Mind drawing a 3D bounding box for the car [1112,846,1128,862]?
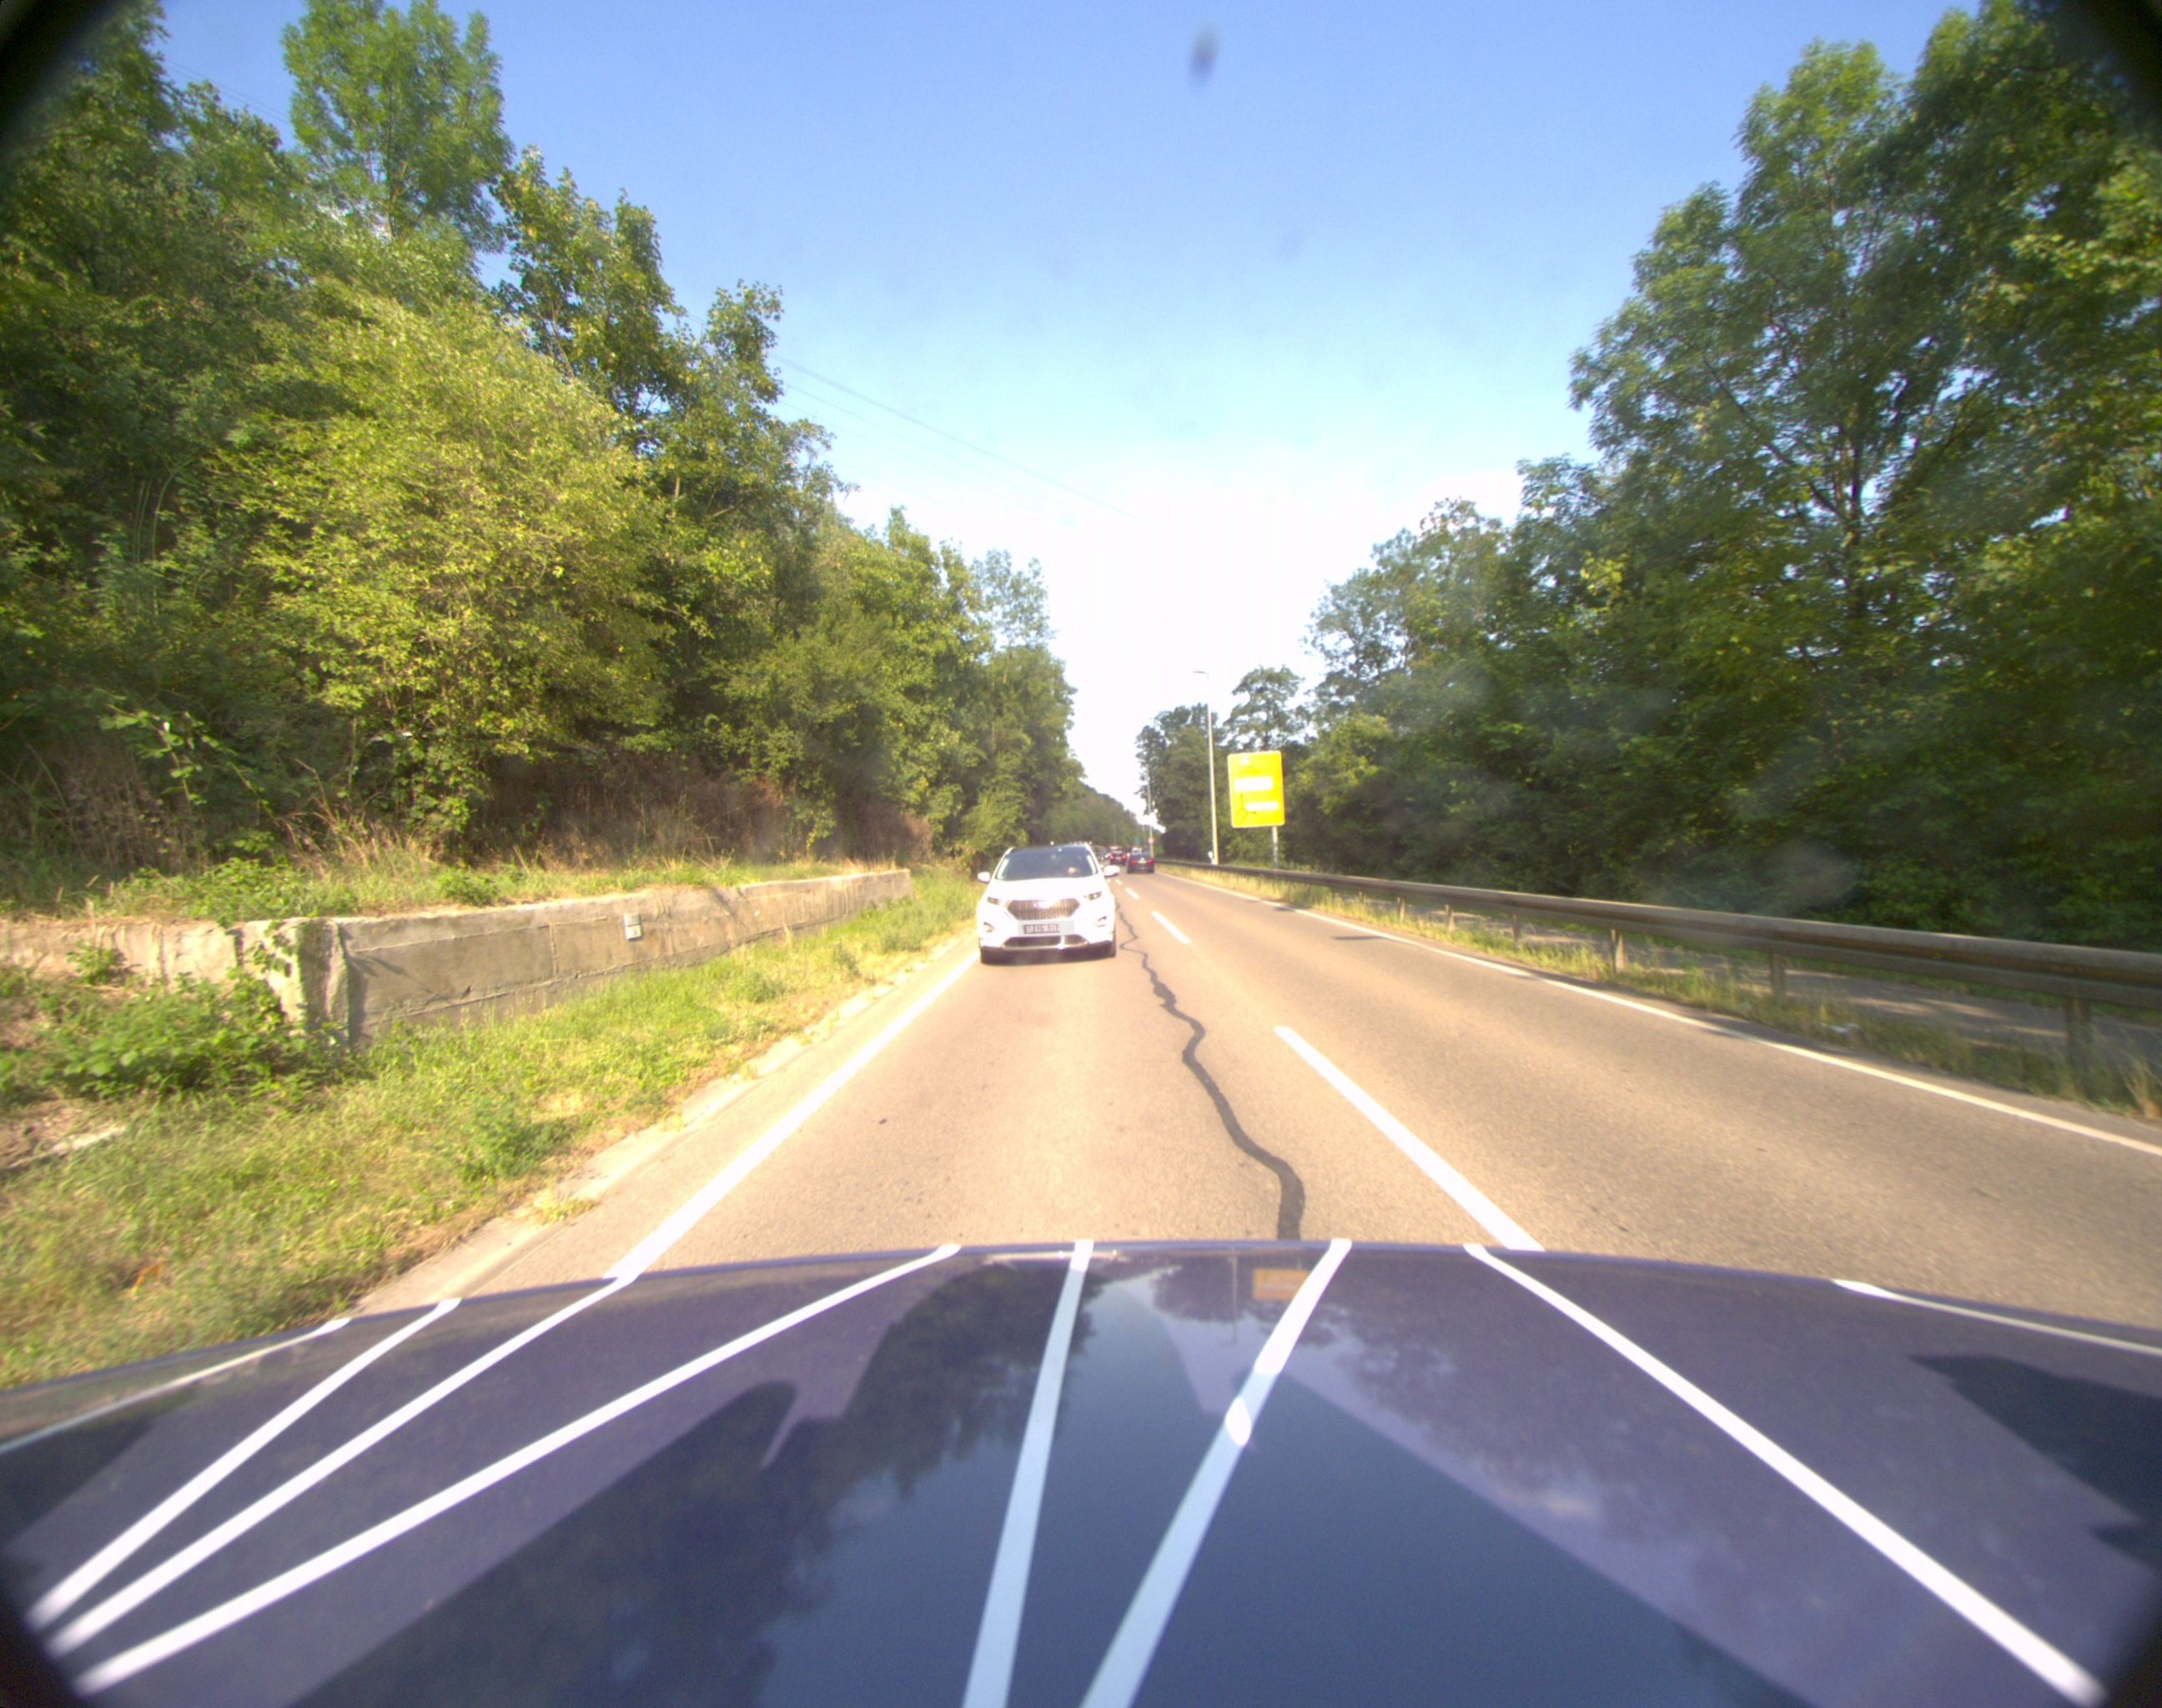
[{"bbox_3d":[4.562,-0.010,90.050,1.752,1.707,4.221,-2,1,2],"label":"car"}]

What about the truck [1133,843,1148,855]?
[{"bbox_3d":[12.974,-1.210,165.170,2.061,2.371,5.877,-3,1,13],"label":"truck"}]

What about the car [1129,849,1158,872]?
[{"bbox_3d":[4.231,0.418,51.790,1.696,1.412,4.141,-2,1,1],"label":"car"}]

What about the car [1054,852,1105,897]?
[{"bbox_3d":[-0.027,0.702,28.356,1.704,1.477,4.136,-3,0,1],"label":"car"}]

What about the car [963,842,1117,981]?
[{"bbox_3d":[-0.502,0.736,11.878,1.894,1.691,4.136,-3,0,1],"label":"car"}]

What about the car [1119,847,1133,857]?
[{"bbox_3d":[6.809,-0.255,115.984,1.686,1.434,3.998,-2,1,-3],"label":"car"}]

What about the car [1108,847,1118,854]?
[{"bbox_3d":[7.437,-0.775,177.004,1.997,1.647,4.002,-1,0,8],"label":"car"}]

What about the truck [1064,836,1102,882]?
[{"bbox_3d":[0.154,0.264,42.390,1.894,2.334,5.273,-3,0,1],"label":"truck"}]
